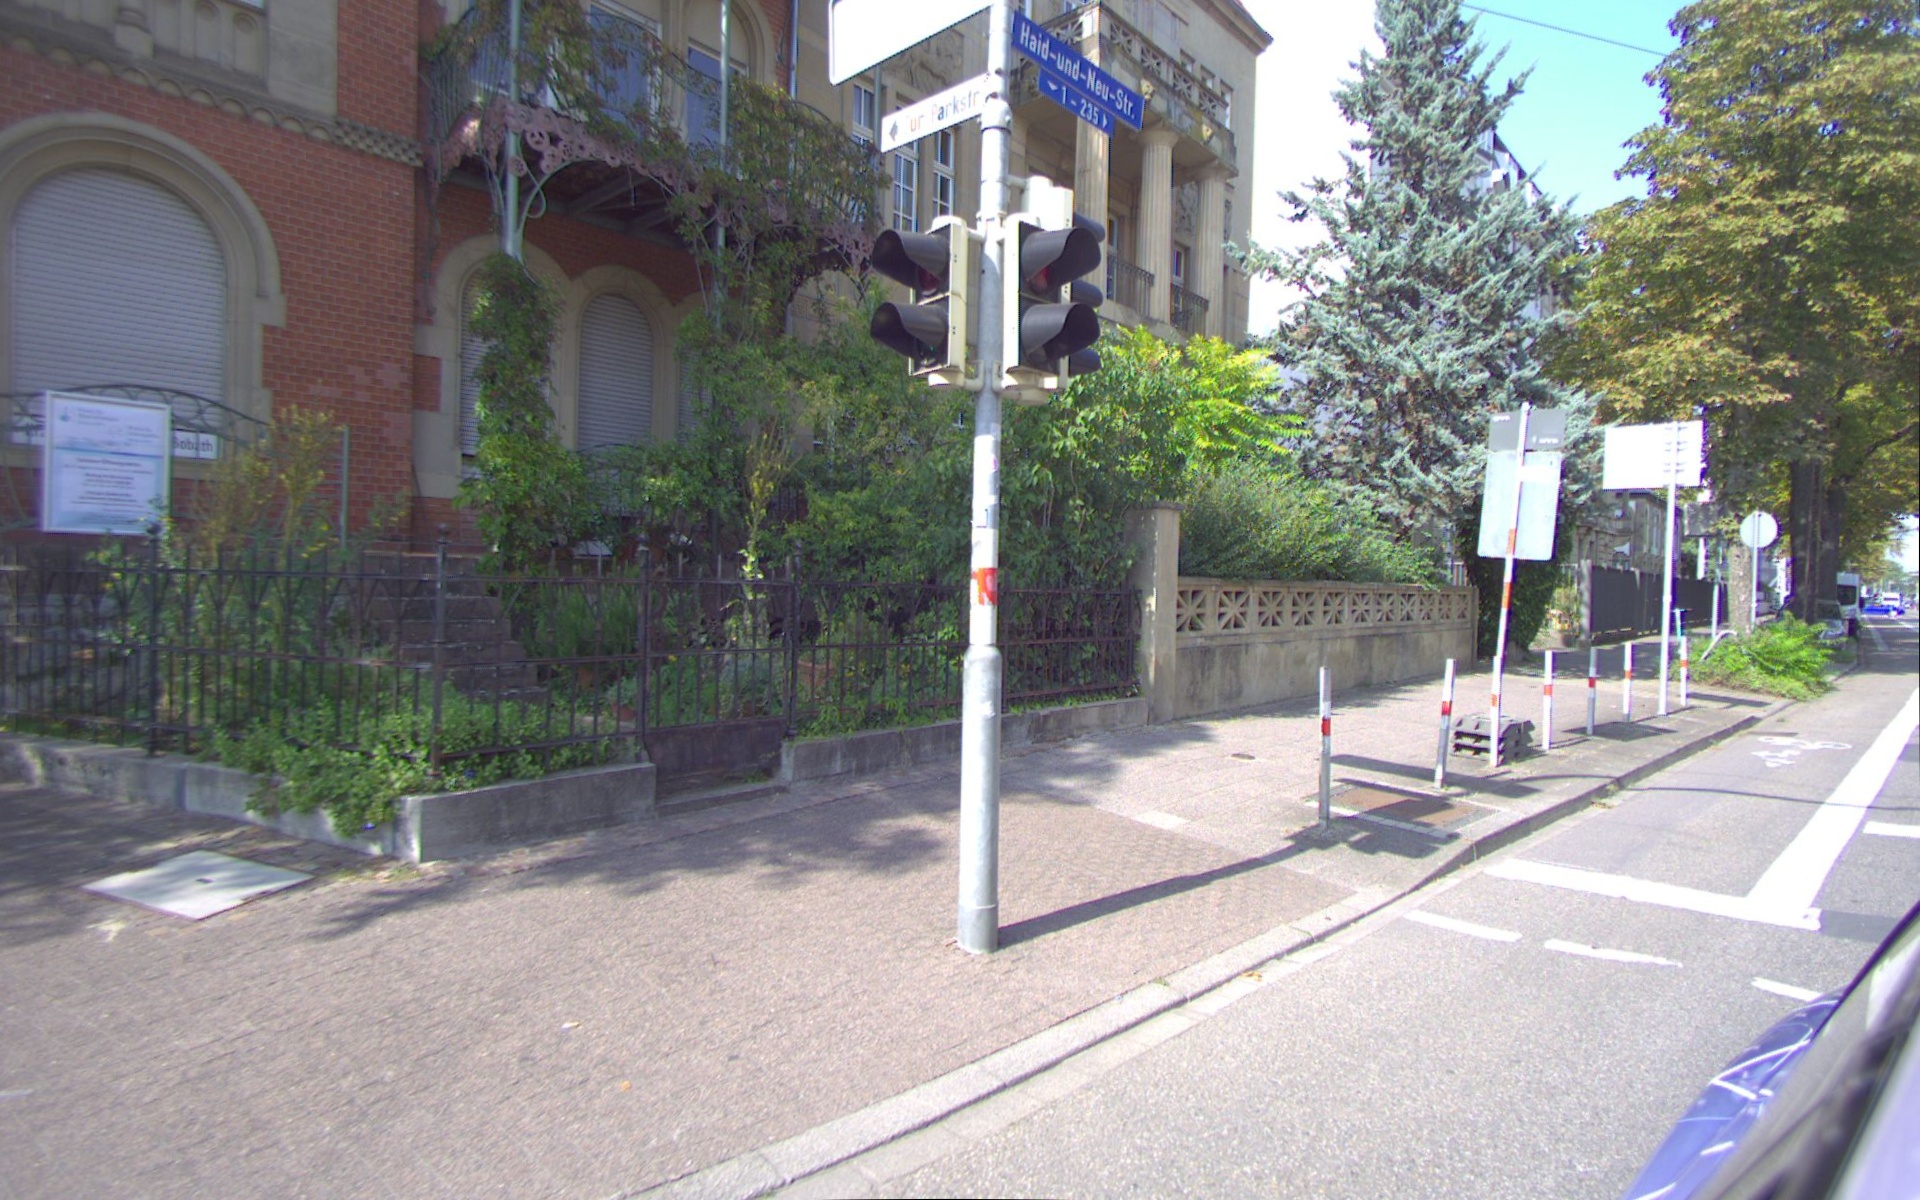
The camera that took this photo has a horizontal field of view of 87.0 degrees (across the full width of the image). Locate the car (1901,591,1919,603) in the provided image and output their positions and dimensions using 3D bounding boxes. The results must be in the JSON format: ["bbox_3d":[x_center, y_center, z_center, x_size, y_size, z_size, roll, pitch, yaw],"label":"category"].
[{"bbox_3d":[136.609,-0.420,145.250,1.991,1.601,4.100,2,2,39],"label":"car"}]

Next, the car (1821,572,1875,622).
[{"bbox_3d":[49.952,-0.185,56.897,1.994,2.572,5.777,5,3,43],"label":"car"}]

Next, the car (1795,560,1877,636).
[{"bbox_3d":[32.197,-0.119,37.131,2.045,2.529,6.133,3,2,42],"label":"car"}]

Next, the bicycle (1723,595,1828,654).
[{"bbox_3d":[18.859,0.563,23.417,1.809,1.179,0.505,3,7,3],"label":"bicycle"}]

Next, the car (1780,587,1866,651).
[{"bbox_3d":[24.417,0.475,28.578,1.607,1.542,4.291,6,5,42],"label":"car"}]

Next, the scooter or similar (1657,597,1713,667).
[{"bbox_3d":[13.455,0.578,18.782,1.016,1.211,0.559,0,5,-42],"label":"scooter or similar"}]
